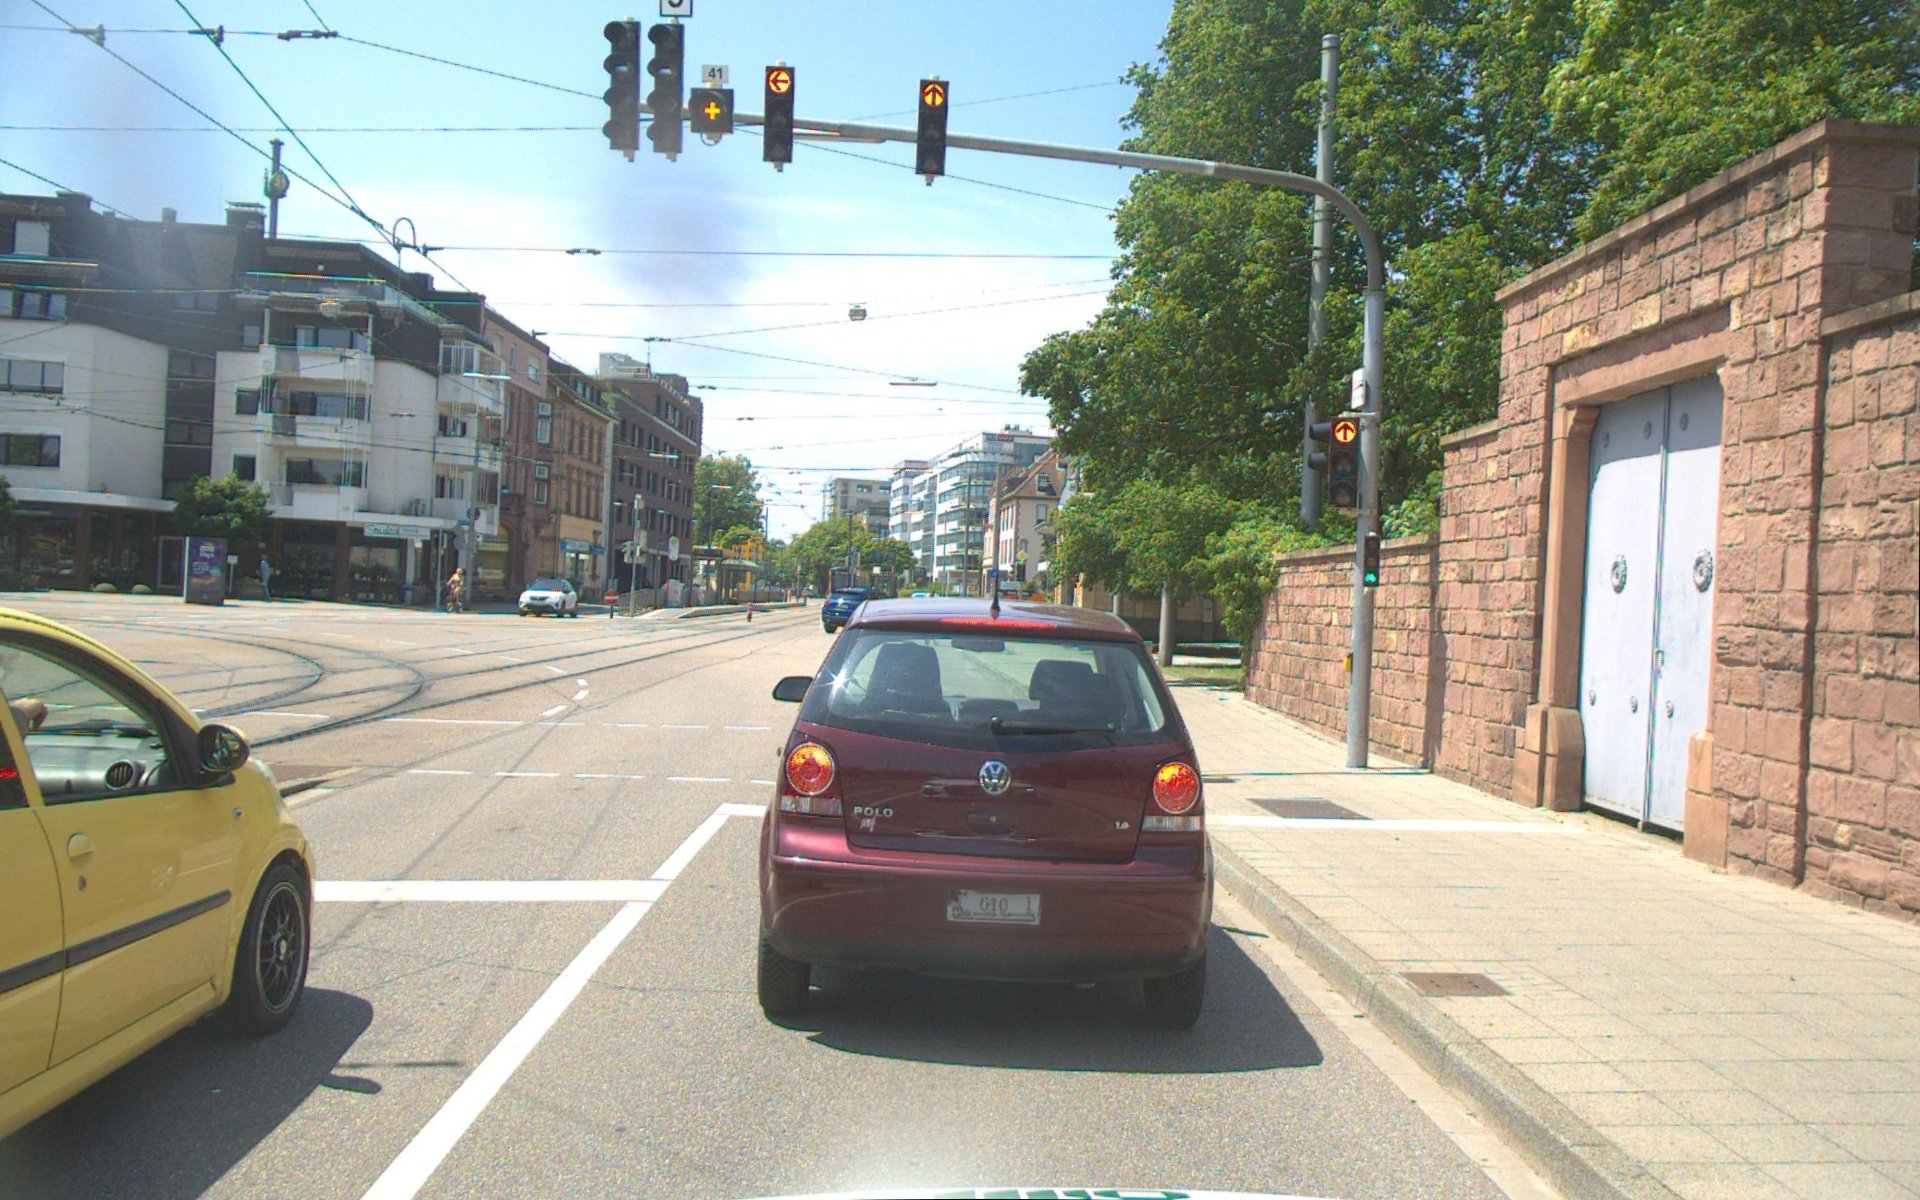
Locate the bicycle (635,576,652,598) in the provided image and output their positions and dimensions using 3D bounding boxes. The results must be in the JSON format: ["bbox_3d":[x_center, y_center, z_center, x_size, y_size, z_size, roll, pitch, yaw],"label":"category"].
[{"bbox_3d":[-20.457,-0.851,106.942,0.663,1.327,2.104,3,1,-2],"label":"bicycle"}]

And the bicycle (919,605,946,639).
[{"bbox_3d":[-0.997,0.792,60.312,0.367,1.218,1.906,2,0,18],"label":"bicycle"}]

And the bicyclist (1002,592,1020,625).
[{"bbox_3d":[2.598,0.443,84.142,0.815,1.646,0.860,-2,1,-1],"label":"bicyclist"}]

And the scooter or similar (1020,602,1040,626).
[{"bbox_3d":[3.579,0.723,84.339,0.335,1.198,1.456,2,0,-25],"label":"scooter or similar"}]

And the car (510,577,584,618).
[{"bbox_3d":[-16.792,-0.104,67.470,1.953,1.580,4.138,2,0,-1],"label":"car"}]

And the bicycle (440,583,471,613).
[{"bbox_3d":[-20.378,-0.090,66.823,0.680,1.169,1.931,2,1,-2],"label":"bicycle"}]

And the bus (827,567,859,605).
[{"bbox_3d":[-9.917,-1.170,140.215,2.188,3.055,6.592,2,0,-1],"label":"bus"}]

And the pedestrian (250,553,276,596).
[{"bbox_3d":[-28.808,-1.049,68.359,0.800,1.726,0.692,2,0,-39],"label":"pedestrian"}]

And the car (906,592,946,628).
[{"bbox_3d":[-1.558,0.442,77.383,1.786,1.556,4.000,2,0,0],"label":"car"}]

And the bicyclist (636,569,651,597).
[{"bbox_3d":[-20.468,-1.097,106.948,0.717,1.793,1.134,3,0,-2],"label":"bicyclist"}]

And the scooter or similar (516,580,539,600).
[{"bbox_3d":[-23.829,-0.539,91.181,0.477,1.101,1.578,2,0,15],"label":"scooter or similar"}]

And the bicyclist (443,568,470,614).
[{"bbox_3d":[-20.367,-0.378,66.900,0.680,1.796,1.137,2,1,-2],"label":"bicyclist"}]

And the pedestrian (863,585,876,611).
[{"bbox_3d":[-6.090,-0.161,110.986,0.747,1.704,1.100,2,0,-1],"label":"pedestrian"}]

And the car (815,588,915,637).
[{"bbox_3d":[-3.470,0.473,61.403,1.953,1.653,4.632,2,0,21],"label":"car"}]

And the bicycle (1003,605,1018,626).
[{"bbox_3d":[2.555,0.772,84.064,0.654,1.020,1.863,-2,1,0],"label":"bicycle"}]

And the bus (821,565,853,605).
[{"bbox_3d":[-9.900,-1.197,133.639,2.101,3.055,6.572,2,0,-1],"label":"bus"}]

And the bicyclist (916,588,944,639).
[{"bbox_3d":[-1.081,0.491,60.177,0.712,1.791,0.924,2,0,18],"label":"bicyclist"}]

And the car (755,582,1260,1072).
[{"bbox_3d":[0.105,0.710,6.709,1.530,1.479,3.060,2,0,-2],"label":"car"}]

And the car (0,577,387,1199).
[{"bbox_3d":[-2.900,0.677,4.394,1.583,1.446,3.654,0,0,-2],"label":"car"}]
